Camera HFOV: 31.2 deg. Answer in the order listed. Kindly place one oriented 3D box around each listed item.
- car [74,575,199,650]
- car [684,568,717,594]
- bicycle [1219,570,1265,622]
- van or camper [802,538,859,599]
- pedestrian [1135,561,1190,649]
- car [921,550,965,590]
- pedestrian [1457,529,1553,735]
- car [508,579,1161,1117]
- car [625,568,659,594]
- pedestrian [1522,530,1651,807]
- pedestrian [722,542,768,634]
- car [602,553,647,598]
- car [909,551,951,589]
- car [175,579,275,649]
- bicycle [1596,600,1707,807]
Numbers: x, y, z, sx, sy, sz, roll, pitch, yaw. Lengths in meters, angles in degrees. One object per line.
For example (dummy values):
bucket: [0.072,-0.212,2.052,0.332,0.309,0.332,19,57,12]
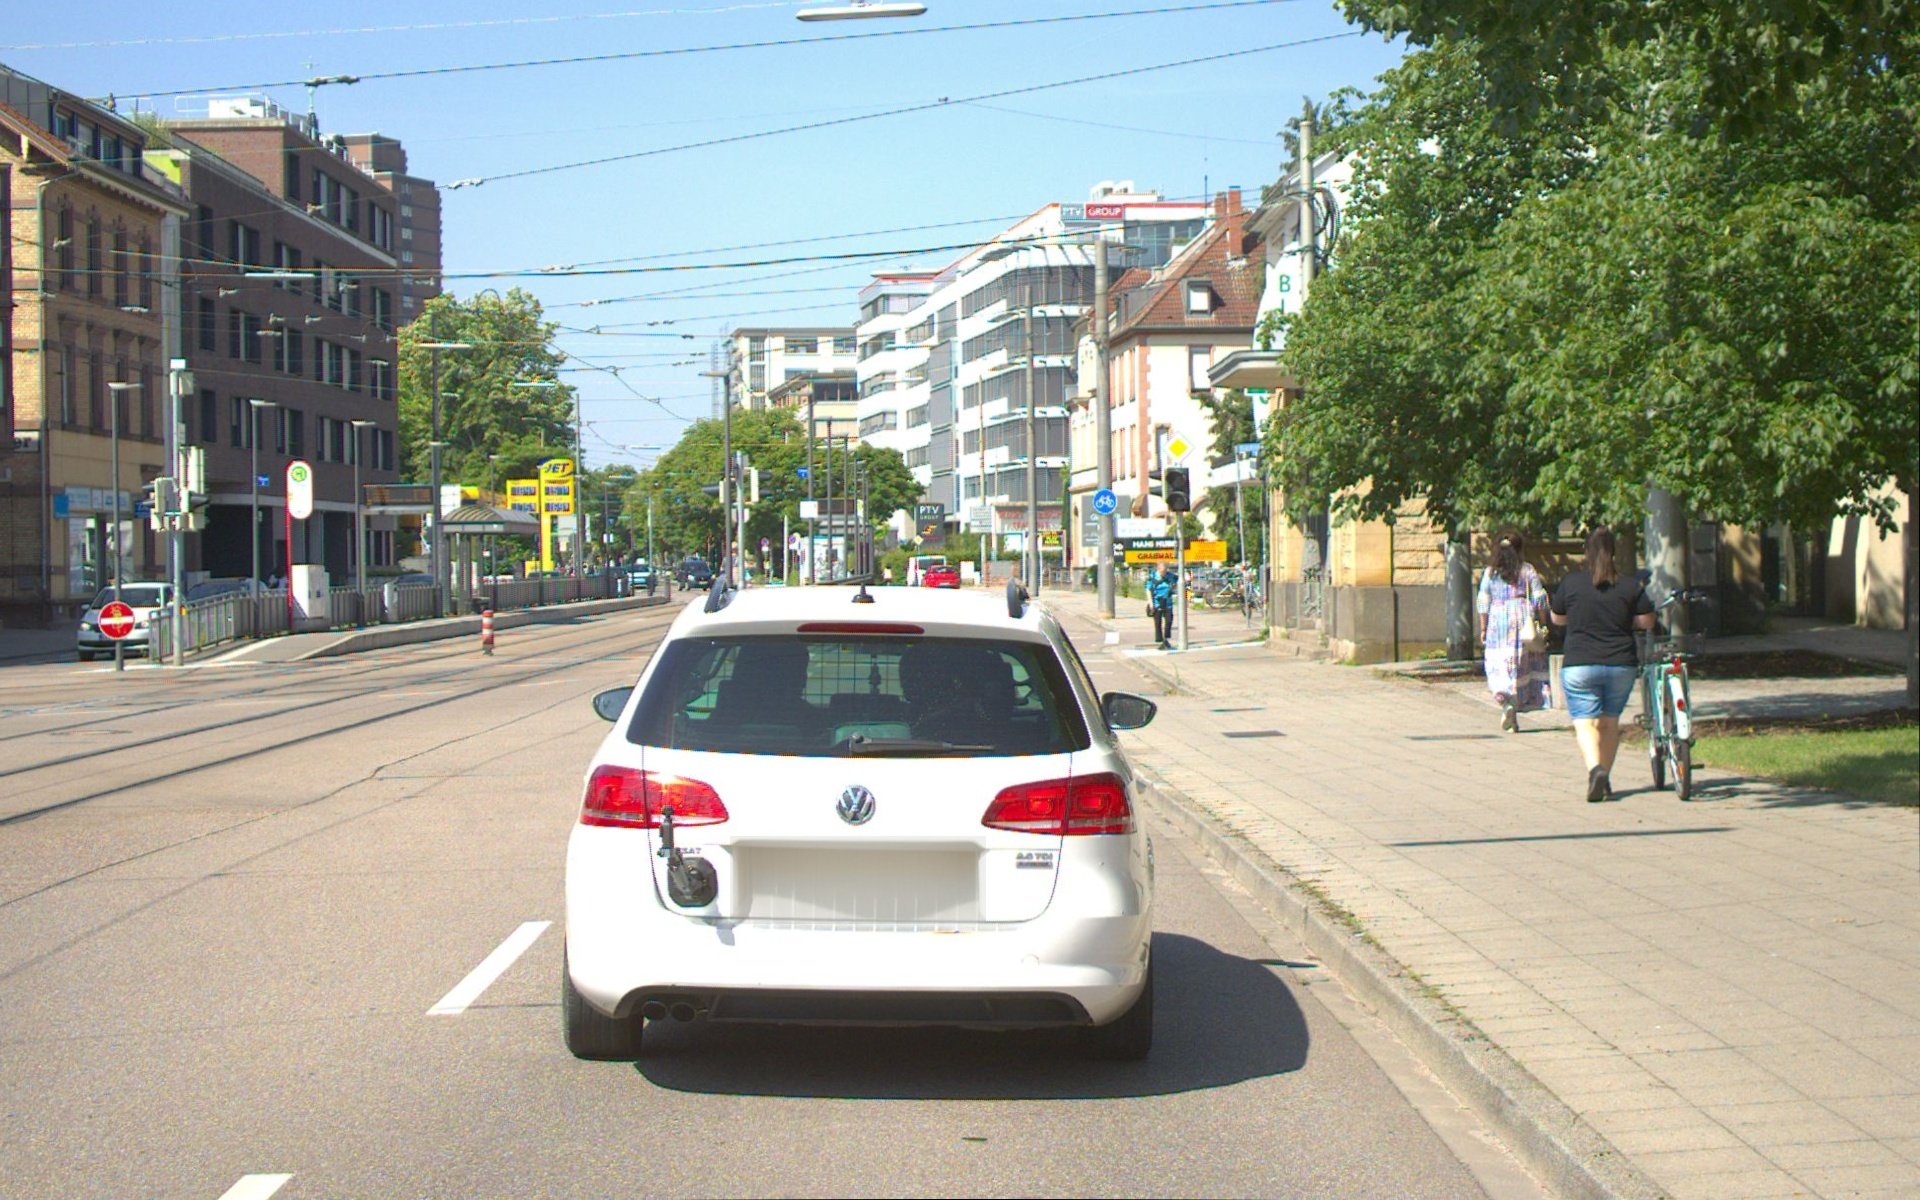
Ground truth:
car: [-16.289,0.225,68.148,1.625,1.426,3.963,0,0,-2]
car: [-15.452,-1.148,205.072,1.667,1.461,3.773,-1,1,0]
bicycle: [6.386,-0.091,77.787,0.726,1.135,2.193,-1,1,12]
van or camper: [-7.013,-1.730,186.817,2.943,3.169,6.614,-1,1,-1]
pedestrian: [3.519,0.086,59.705,0.856,1.505,0.781,-1,0,9]
car: [-0.885,-1.584,179.927,1.993,2.007,4.001,-1,1,-4]
pedestrian: [4.521,0.256,28.545,0.650,1.676,0.707,-1,1,-1]
car: [-0.333,0.663,11.275,1.753,1.413,3.853,-1,1,0]
car: [-18.685,-1.126,202.262,1.667,1.461,3.773,-1,1,0]
pedestrian: [3.608,0.387,19.835,0.540,1.543,0.663,-3,1,0]
pedestrian: [-4.279,-0.240,68.418,0.826,1.803,0.833,-1,0,1]
car: [-15.835,-1.156,162.346,1.993,2.007,4.001,-2,0,-5]
car: [-1.637,-1.624,185.347,1.993,2.007,4.001,-1,1,-4]
car: [-16.178,0.282,75.853,1.572,1.454,3.815,-1,1,-3]
bicycle: [3.946,0.568,19.697,0.536,1.107,1.806,-2,0,10]
